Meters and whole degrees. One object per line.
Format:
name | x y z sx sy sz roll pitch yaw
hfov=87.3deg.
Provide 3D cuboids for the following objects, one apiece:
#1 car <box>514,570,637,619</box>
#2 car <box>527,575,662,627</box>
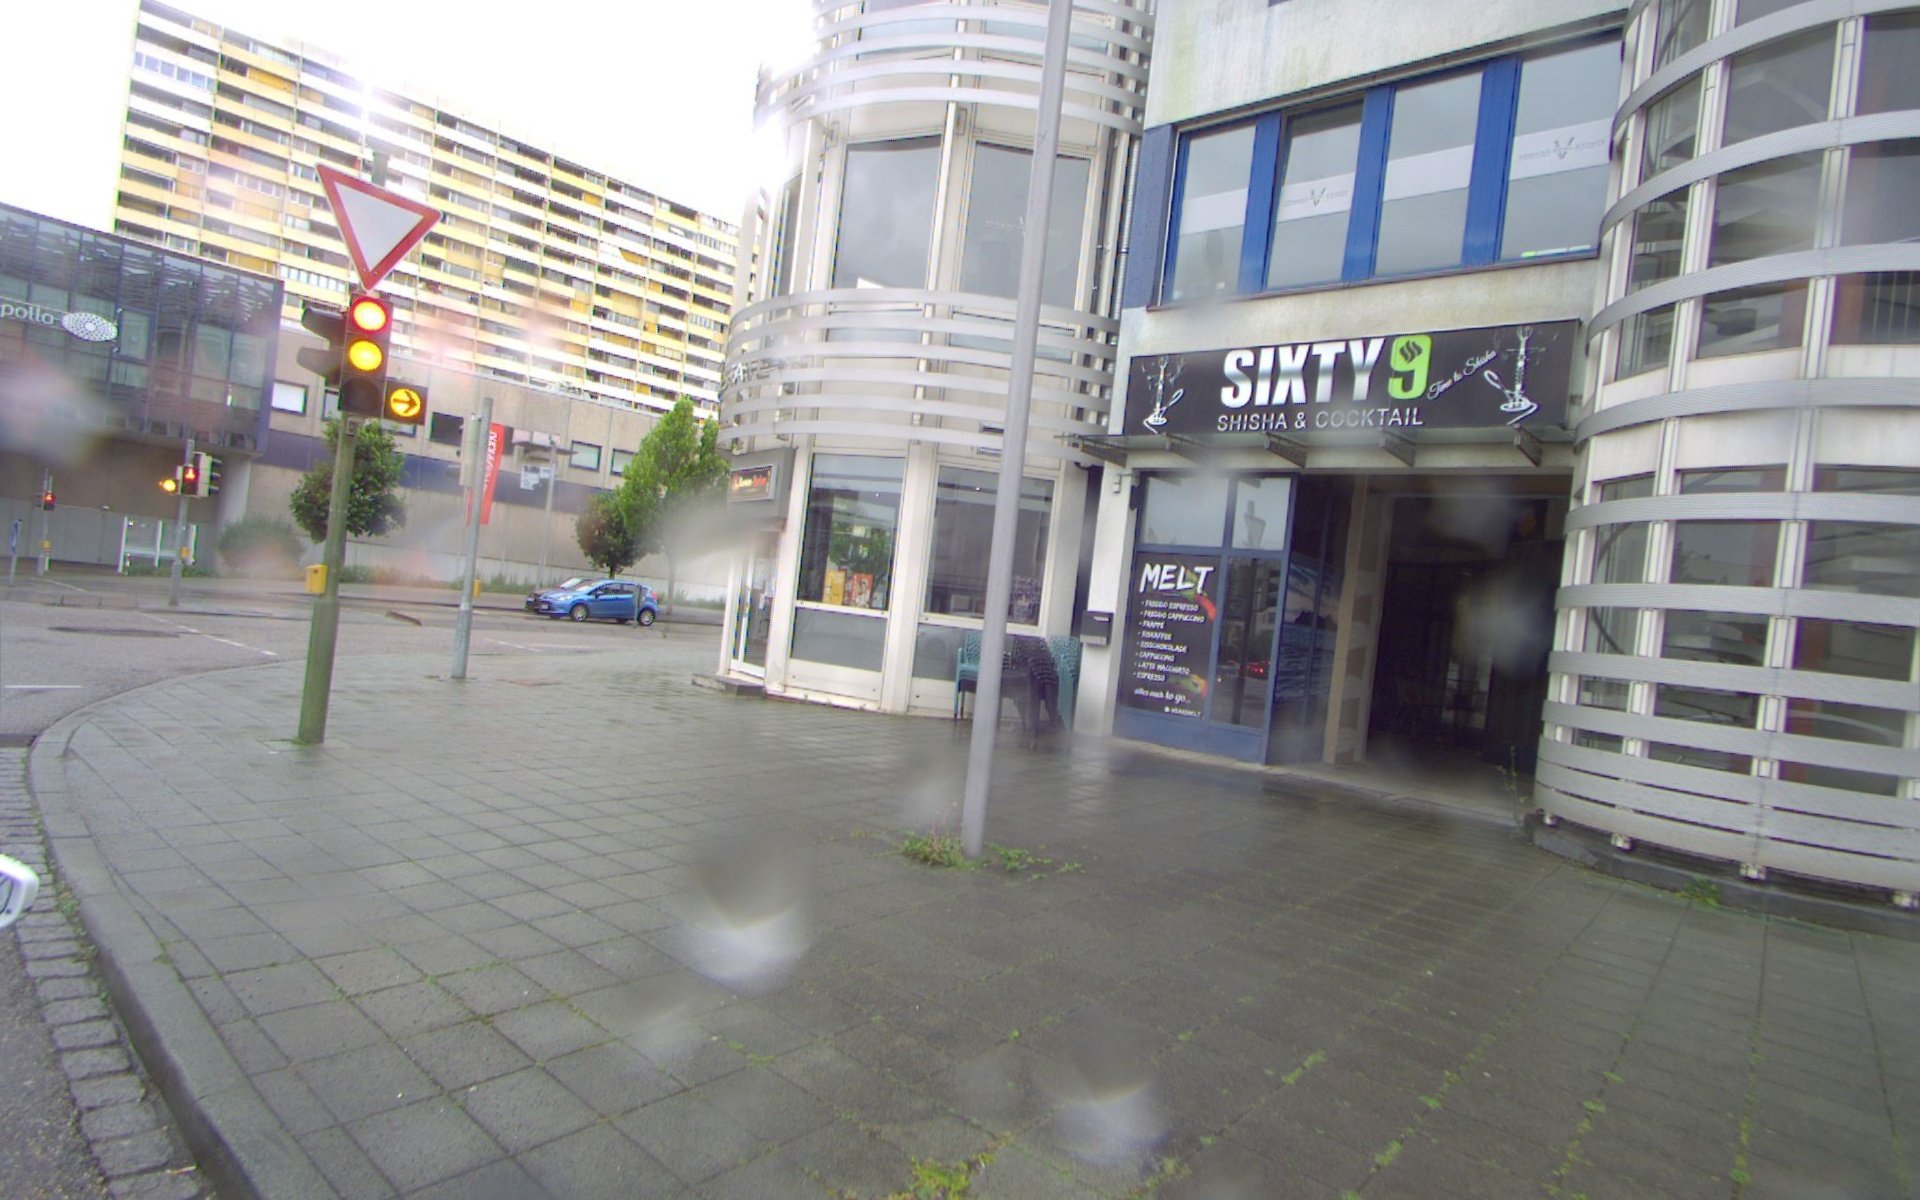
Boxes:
car | -13.743 -0.164 36.073 1.720 1.412 3.677 5 0 41
car | -12.071 0.057 33.406 1.655 1.415 3.837 5 0 40
